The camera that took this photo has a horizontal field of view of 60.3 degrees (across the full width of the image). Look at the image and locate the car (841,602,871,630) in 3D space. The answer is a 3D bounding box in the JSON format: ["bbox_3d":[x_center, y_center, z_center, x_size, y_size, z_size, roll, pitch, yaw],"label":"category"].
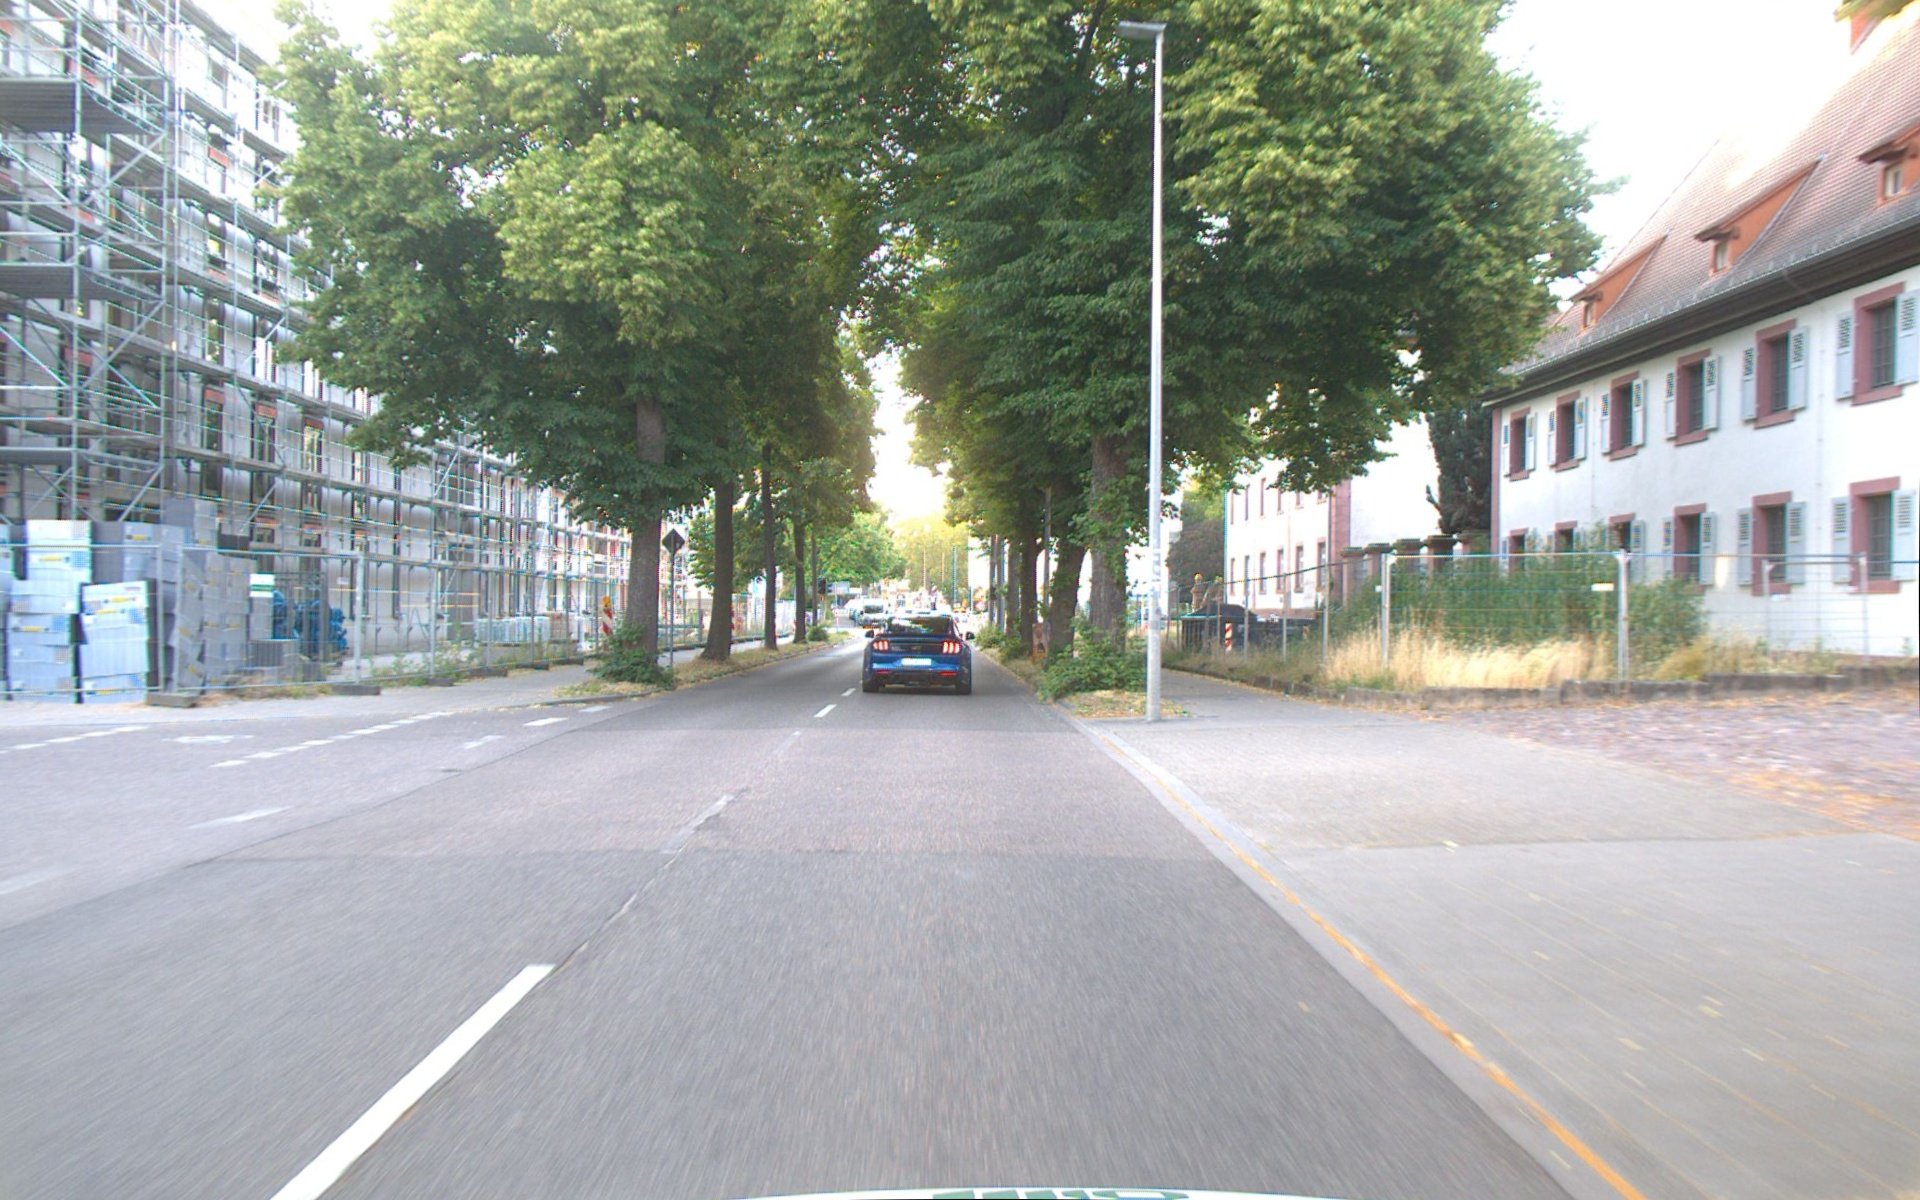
[{"bbox_3d":[-8.393,1.284,133.363,2.289,2.236,5.306,0,0,-2],"label":"car"}]

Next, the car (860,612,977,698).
[{"bbox_3d":[-0.720,0.930,29.656,1.907,1.350,3.999,2,0,-1],"label":"car"}]

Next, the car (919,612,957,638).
[{"bbox_3d":[-1.211,1.369,92.159,1.907,1.350,4.000,2,0,1],"label":"car"}]

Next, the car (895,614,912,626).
[{"bbox_3d":[-6.909,2.395,201.859,1.907,1.350,3.999,2,0,-1],"label":"car"}]

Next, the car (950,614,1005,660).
[{"bbox_3d":[0.673,1.338,61.451,1.907,1.554,4.000,2,0,1],"label":"car"}]

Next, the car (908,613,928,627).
[{"bbox_3d":[-4.242,2.015,166.748,1.907,1.350,3.999,2,0,-1],"label":"car"}]

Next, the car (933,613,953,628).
[{"bbox_3d":[-1.644,1.988,162.757,1.907,1.350,3.999,2,0,-1],"label":"car"}]

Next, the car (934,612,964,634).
[{"bbox_3d":[-0.746,1.551,110.285,1.907,1.350,3.999,2,0,-1],"label":"car"}]

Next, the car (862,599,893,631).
[{"bbox_3d":[-7.242,1.273,144.863,2.444,2.744,5.824,0,0,-5],"label":"car"}]
